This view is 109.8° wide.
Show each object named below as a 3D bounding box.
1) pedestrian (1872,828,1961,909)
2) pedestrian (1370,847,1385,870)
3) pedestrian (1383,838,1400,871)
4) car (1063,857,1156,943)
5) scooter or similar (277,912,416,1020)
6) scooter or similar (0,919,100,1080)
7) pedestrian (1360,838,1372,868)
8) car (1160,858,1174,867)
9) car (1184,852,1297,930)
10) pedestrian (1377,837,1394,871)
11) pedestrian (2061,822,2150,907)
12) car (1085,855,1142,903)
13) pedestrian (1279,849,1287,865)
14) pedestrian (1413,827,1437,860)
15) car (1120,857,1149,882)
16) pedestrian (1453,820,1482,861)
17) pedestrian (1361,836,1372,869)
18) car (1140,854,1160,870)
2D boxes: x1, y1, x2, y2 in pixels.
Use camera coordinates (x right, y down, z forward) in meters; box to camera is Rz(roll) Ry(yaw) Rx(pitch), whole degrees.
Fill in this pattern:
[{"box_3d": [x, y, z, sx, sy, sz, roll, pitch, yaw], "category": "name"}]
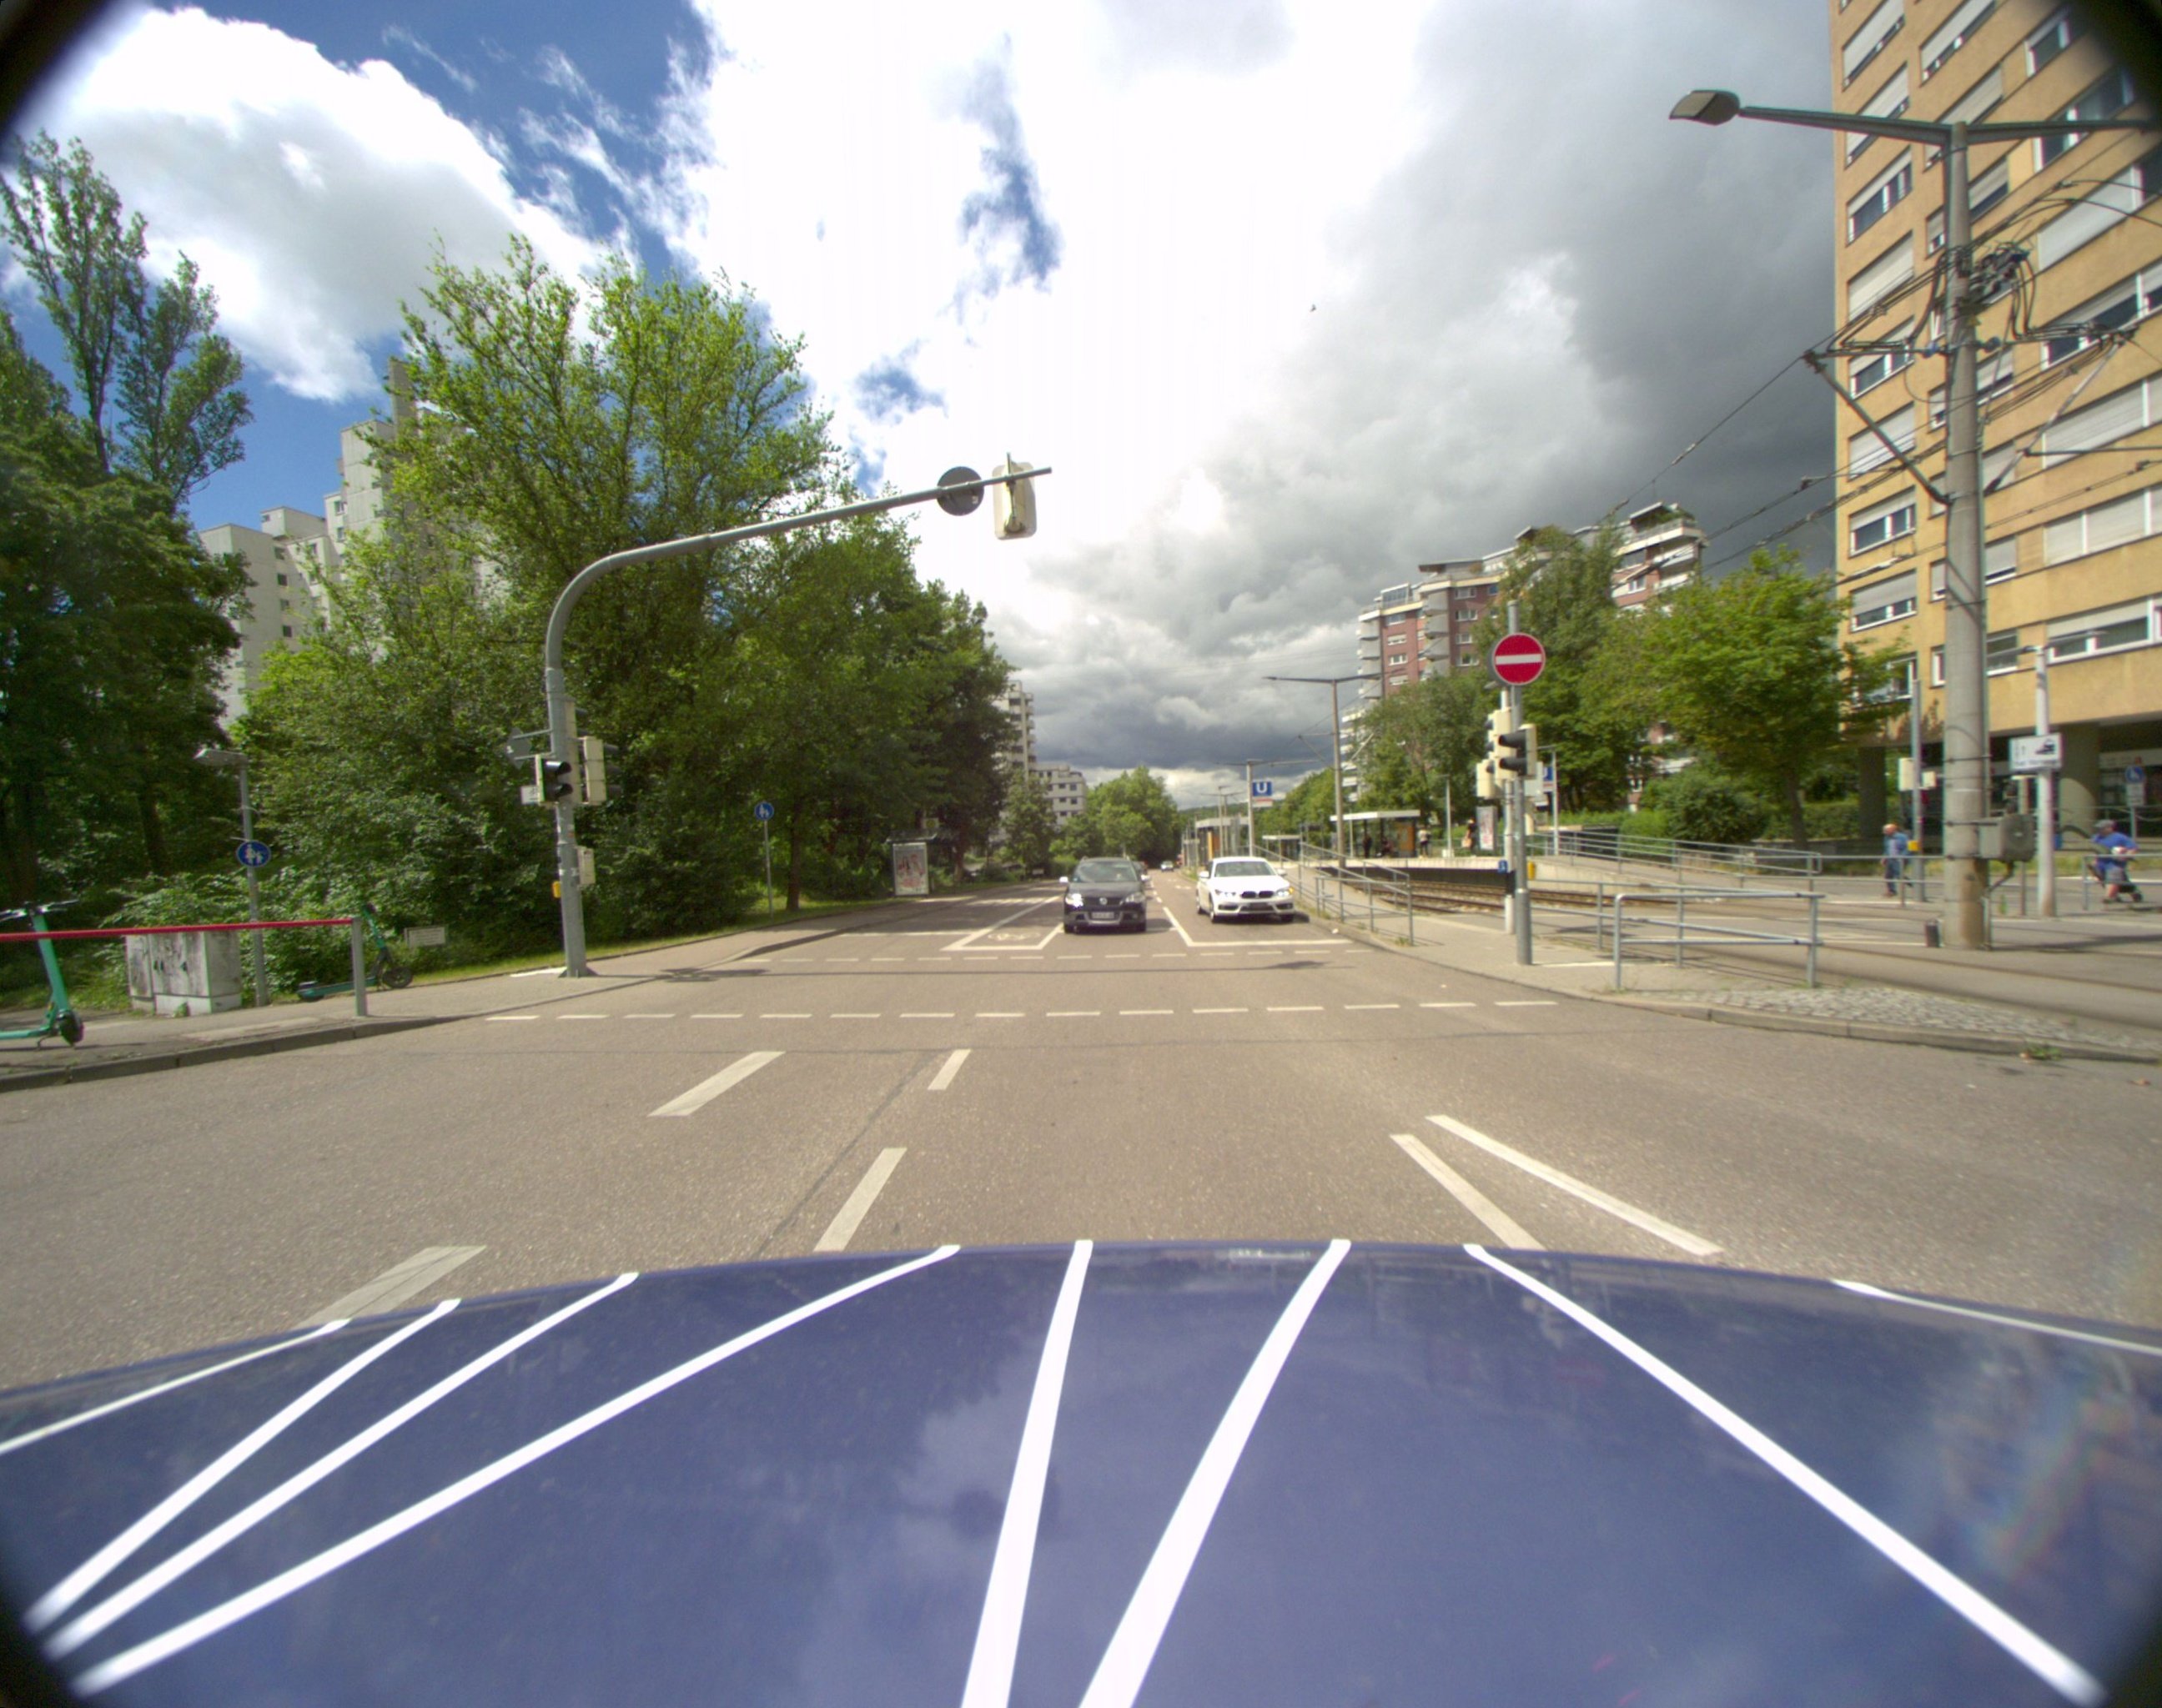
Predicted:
[{"box_3d": [17.713, 0.296, 16.126, 0.720, 1.588, 0.911, -7, 1, -1], "category": "pedestrian"}, {"box_3d": [18.318, 0.280, 46.910, 0.645, 1.407, 0.658, -2, 1, 3], "category": "pedestrian"}, {"box_3d": [18.339, 0.023, 44.873, 0.771, 1.920, 0.573, -2, 1, 1], "category": "pedestrian"}, {"box_3d": [0.484, 0.868, 16.156, 1.682, 1.529, 3.792, -2, 0, -2], "category": "car"}, {"box_3d": [-10.101, 1.514, 10.497, 1.212, 1.284, 0.534, -5, -2, -31], "category": "scooter or similar"}, {"box_3d": [-8.648, 1.139, 6.054, 1.170, 1.188, 0.449, -2, 1, 7], "category": "scooter or similar"}, {"box_3d": [18.793, -0.069, 50.130, 0.517, 2.002, 0.558, -2, 1, 3], "category": "pedestrian"}, {"box_3d": [12.305, 1.164, 108.673, 1.805, 1.208, 4.023, -2, 0, 7], "category": "car"}, {"box_3d": [3.522, 0.755, 17.509, 1.793, 1.443, 4.275, -2, 1, 2], "category": "car"}, {"box_3d": [18.321, -0.010, 45.679, 0.780, 2.002, 0.584, -2, 1, 3], "category": "pedestrian"}, {"box_3d": [18.786, 0.189, 13.948, 0.720, 1.505, 0.649, -2, 1, 3], "category": "pedestrian"}, {"box_3d": [1.122, 0.869, 28.017, 1.819, 1.483, 3.999, -3, 1, 0], "category": "car"}, {"box_3d": [21.970, 0.331, 82.656, 0.774, 1.696, 0.766, -2, 1, 12], "category": "pedestrian"}, {"box_3d": [17.128, -0.533, 37.866, 0.865, 1.597, 0.747, -2, 1, 2], "category": "pedestrian"}, {"box_3d": [3.612, 1.032, 51.377, 1.845, 1.553, 4.001, -2, 0, 3], "category": "car"}, {"box_3d": [17.085, -0.605, 33.592, 0.865, 1.763, 0.747, -2, 1, 2], "category": "pedestrian"}, {"box_3d": [18.693, -0.107, 49.723, 0.532, 2.129, 0.608, -2, 1, 6], "category": "pedestrian"}, {"box_3d": [6.801, 0.772, 74.402, 1.845, 1.409, 4.002, -2, 0, 7], "category": "car"}]
